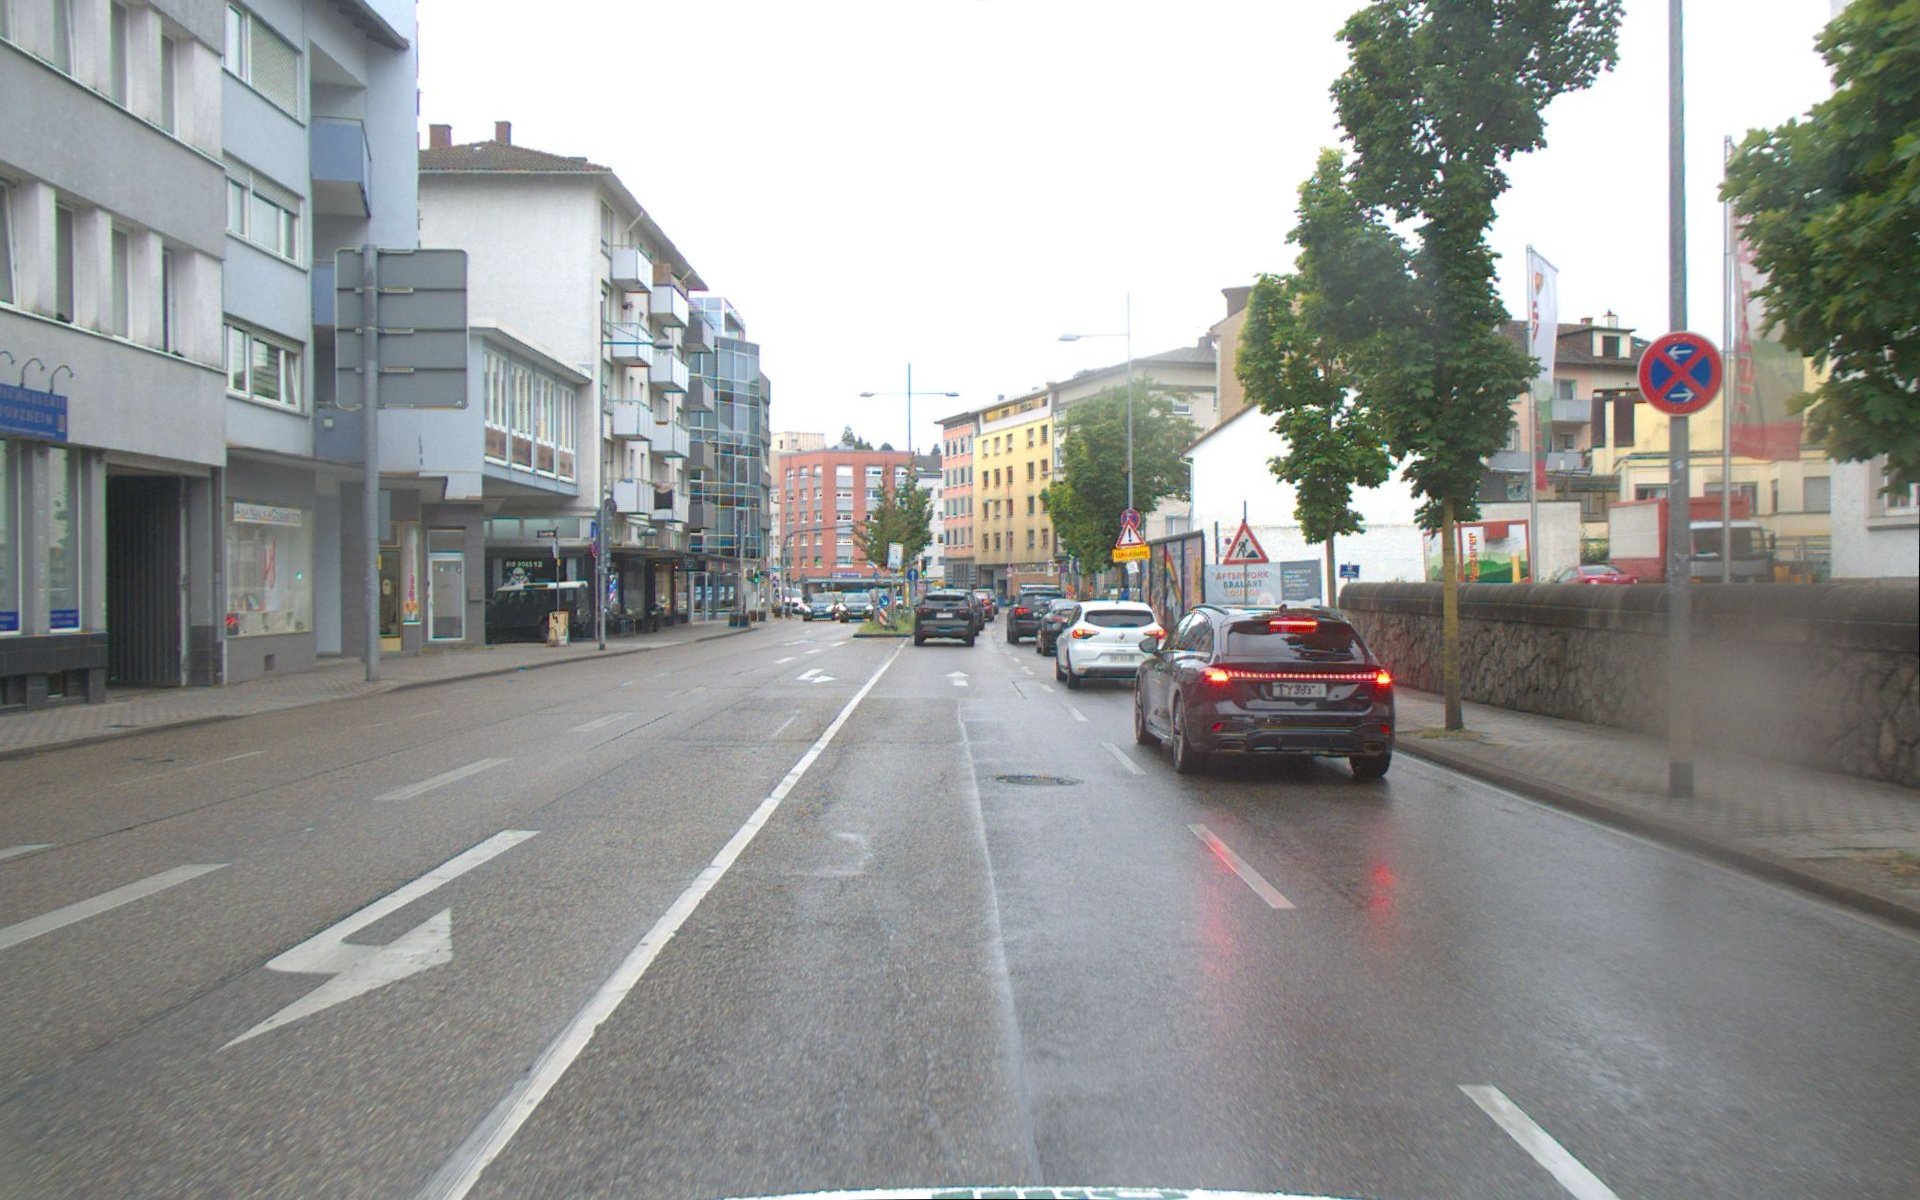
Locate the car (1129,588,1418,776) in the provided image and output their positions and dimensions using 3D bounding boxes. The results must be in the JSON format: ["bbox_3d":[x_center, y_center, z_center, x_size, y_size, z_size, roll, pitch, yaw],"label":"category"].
[{"bbox_3d":[2.765,0.645,15.644,1.753,1.427,4.633,-2,1,-1],"label":"car"}]

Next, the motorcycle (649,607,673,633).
[{"bbox_3d":[-12.135,0.794,67.111,0.515,1.013,2.137,0,0,1],"label":"motorcycle"}]

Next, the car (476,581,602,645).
[{"bbox_3d":[-14.521,0.445,57.107,3.882,2.070,1.580,-2,0,0],"label":"car"}]

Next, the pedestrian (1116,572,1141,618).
[{"bbox_3d":[6.731,-0.214,66.065,0.774,1.786,0.872,-3,0,13],"label":"pedestrian"}]

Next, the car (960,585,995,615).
[{"bbox_3d":[0.873,-0.006,83.816,1.608,1.405,3.347,-3,0,-1],"label":"car"}]

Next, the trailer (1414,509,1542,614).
[{"bbox_3d":[15.074,-1.128,48.486,2.083,2.763,5.393,-4,1,2],"label":"trailer"}]

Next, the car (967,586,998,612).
[{"bbox_3d":[1.281,-0.088,96.258,1.608,1.405,3.347,-3,0,-1],"label":"car"}]

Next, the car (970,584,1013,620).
[{"bbox_3d":[1.319,0.070,69.563,1.608,1.405,3.347,-3,0,-1],"label":"car"}]

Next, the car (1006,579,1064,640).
[{"bbox_3d":[2.376,0.262,52.953,1.792,1.837,3.720,0,1,2],"label":"car"}]

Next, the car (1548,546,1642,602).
[{"bbox_3d":[18.210,-0.751,47.538,1.556,1.482,3.266,-3,0,4],"label":"car"}]

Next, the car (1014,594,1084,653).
[{"bbox_3d":[2.337,0.584,43.146,1.749,1.424,3.720,-1,0,4],"label":"car"}]

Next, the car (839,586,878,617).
[{"bbox_3d":[-5.260,0.037,86.020,1.685,1.447,4.165,-4,0,0],"label":"car"}]

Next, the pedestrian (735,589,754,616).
[{"bbox_3d":[-13.062,0.157,100.191,0.775,1.618,0.753,-3,0,-37],"label":"pedestrian"}]

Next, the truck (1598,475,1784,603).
[{"bbox_3d":[20.920,-1.683,47.788,2.577,3.271,6.933,-3,0,4],"label":"truck"}]

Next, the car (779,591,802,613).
[{"bbox_3d":[-12.603,0.122,122.685,1.521,1.598,3.341,0,0,-9],"label":"car"}]

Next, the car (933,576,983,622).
[{"bbox_3d":[-0.055,-0.045,60.502,1.786,1.628,3.719,0,0,1],"label":"car"}]

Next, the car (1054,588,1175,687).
[{"bbox_3d":[2.598,0.589,28.569,1.631,1.420,3.867,-4,2,0],"label":"car"}]

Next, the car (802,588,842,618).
[{"bbox_3d":[-7.642,0.147,91.940,1.673,1.493,4.829,-4,0,0],"label":"car"}]

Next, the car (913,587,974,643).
[{"bbox_3d":[-0.465,0.426,49.982,1.786,1.628,3.719,0,0,1],"label":"car"}]

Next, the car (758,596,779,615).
[{"bbox_3d":[-15.562,0.419,134.358,1.429,1.455,3.361,0,1,-11],"label":"car"}]
